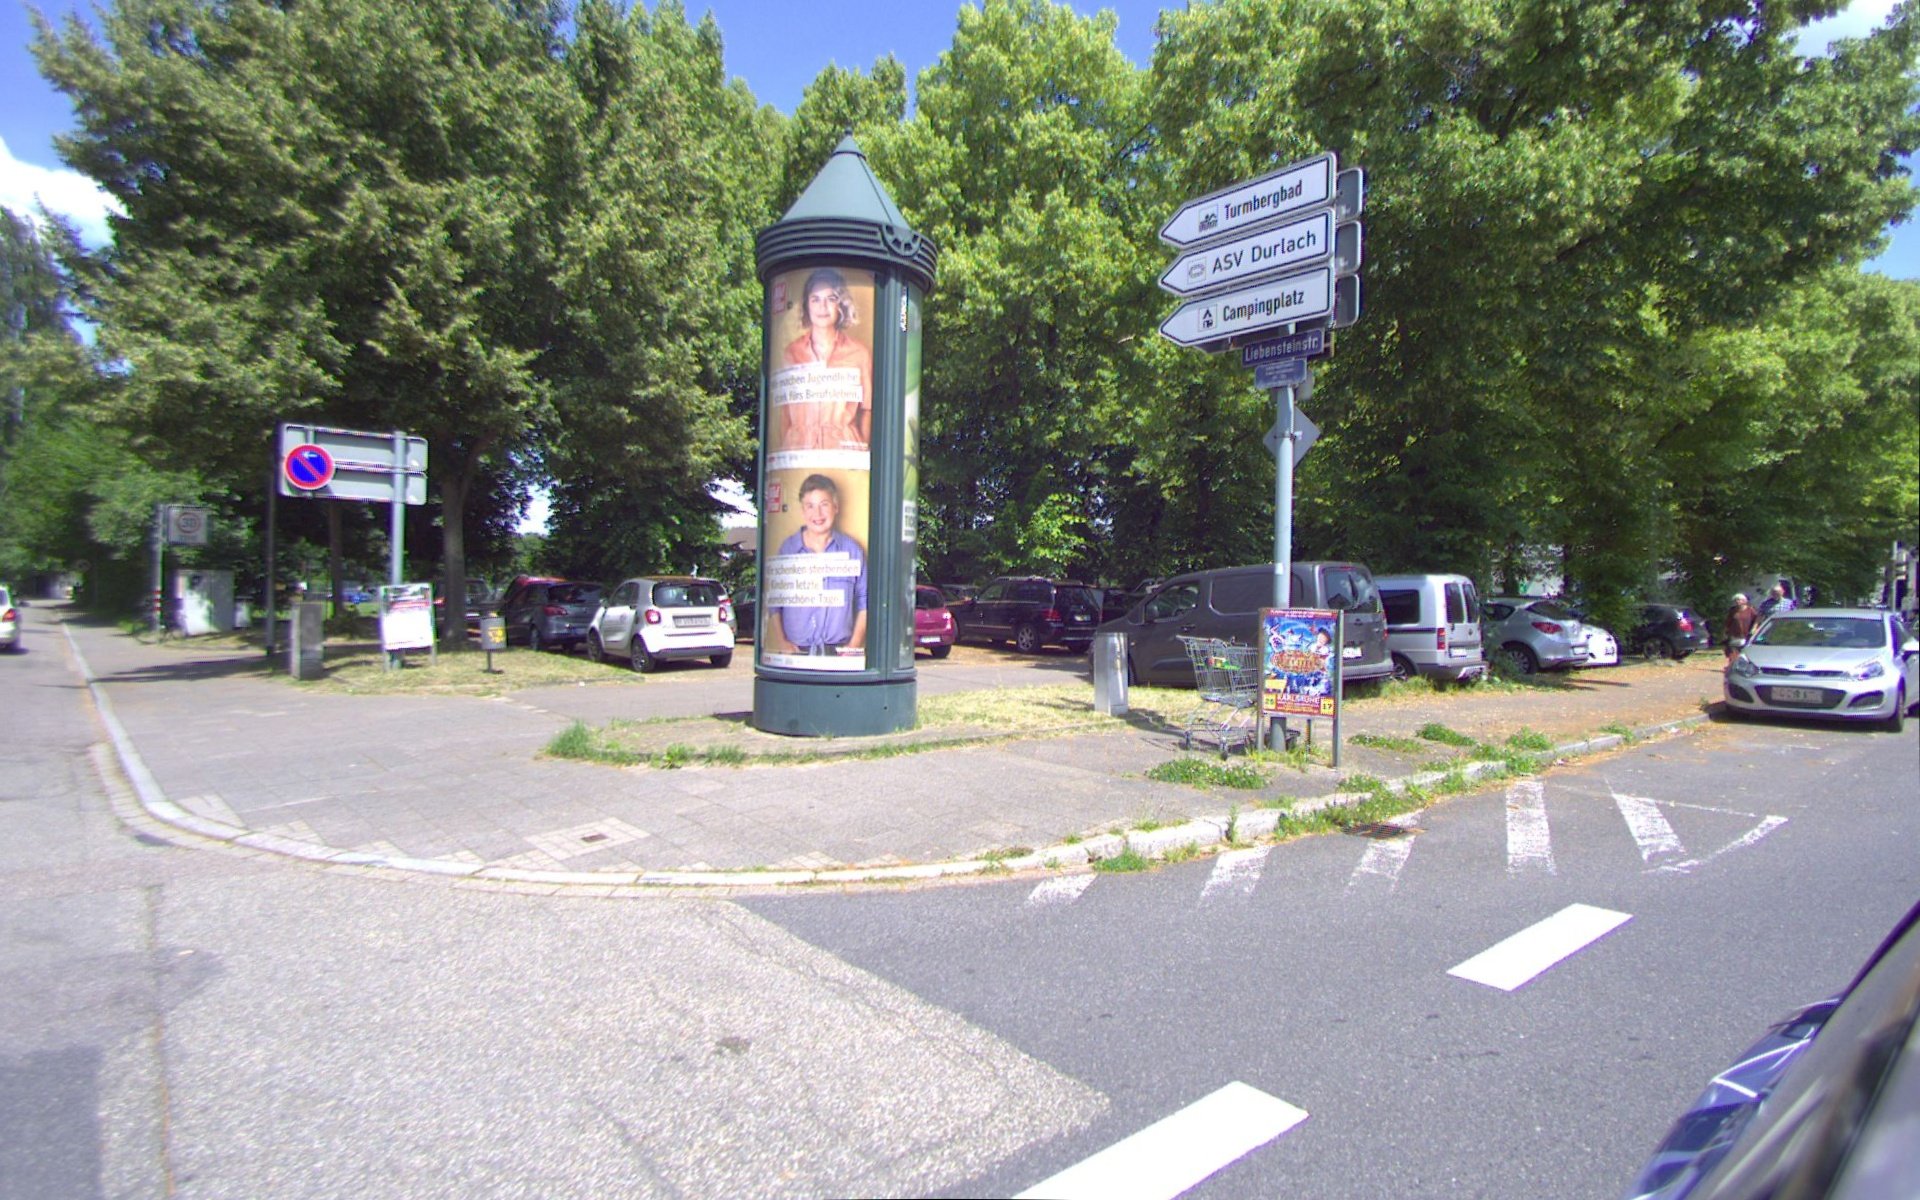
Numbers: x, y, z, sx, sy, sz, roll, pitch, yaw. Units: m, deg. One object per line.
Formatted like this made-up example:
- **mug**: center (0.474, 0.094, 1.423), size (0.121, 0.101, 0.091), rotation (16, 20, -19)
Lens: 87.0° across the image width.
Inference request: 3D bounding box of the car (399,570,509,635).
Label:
- **car**: center (-14.594, 0.034, 29.098), size (1.839, 1.714, 3.993), rotation (1, 0, -42)

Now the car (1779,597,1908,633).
- **car**: center (35.381, 0.569, 40.613), size (3.834, 1.375, 1.605), rotation (0, 0, 42)

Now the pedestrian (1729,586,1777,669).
- **pedestrian**: center (15.698, 0.529, 20.035), size (0.724, 1.613, 0.618), rotation (1, 0, -41)

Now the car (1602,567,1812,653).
- **car**: center (21.907, 0.305, 29.836), size (2.068, 2.305, 4.611), rotation (1, -1, -39)

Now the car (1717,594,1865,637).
- **car**: center (31.092, 0.530, 37.953), size (1.608, 1.512, 4.074), rotation (1, 0, -41)

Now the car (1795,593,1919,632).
- **car**: center (38.194, 0.508, 43.078), size (1.597, 1.555, 3.774), rotation (1, 0, -29)

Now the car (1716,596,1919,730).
- **car**: center (11.568, 0.713, 13.350), size (3.822, 1.504, 1.770), rotation (0, 0, -41)

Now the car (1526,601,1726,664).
- **car**: center (17.049, 0.797, 26.068), size (1.686, 1.492, 3.996), rotation (0, -1, -38)

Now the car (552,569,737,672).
- **car**: center (-5.704, 0.277, 18.032), size (1.652, 1.573, 3.994), rotation (0, 2, -41)

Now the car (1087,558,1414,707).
- **car**: center (3.935, 0.367, 14.191), size (1.981, 1.773, 3.994), rotation (0, 0, -40)

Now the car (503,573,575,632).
- **car**: center (-12.873, 0.037, 30.845), size (1.683, 1.688, 3.808), rotation (0, 1, -28)

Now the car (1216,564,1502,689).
- **car**: center (6.048, 0.313, 15.614), size (1.636, 1.688, 3.766), rotation (1, 1, -44)

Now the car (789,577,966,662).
- **car**: center (-1.817, 0.337, 21.308), size (1.652, 1.547, 3.994), rotation (0, 2, -41)

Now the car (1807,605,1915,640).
- **car**: center (43.634, 1.060, 49.033), size (1.822, 1.546, 3.757), rotation (1, 1, -43)

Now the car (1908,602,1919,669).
- **car**: center (22.582, 0.786, 22.538), size (3.928, 1.446, 1.667), rotation (1, 0, -40)

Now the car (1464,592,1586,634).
- **car**: center (24.542, 0.533, 44.071), size (1.787, 1.607, 4.261), rotation (1, 2, -41)

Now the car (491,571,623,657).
- **car**: center (-8.316, 0.239, 20.801), size (1.564, 1.573, 3.068), rotation (0, 2, -42)

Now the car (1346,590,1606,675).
- **car**: center (9.567, 0.542, 18.986), size (1.776, 1.416, 3.993), rotation (1, 0, -41)

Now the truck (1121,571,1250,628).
- **truck**: center (7.780, -0.052, 35.211), size (1.844, 1.837, 4.133), rotation (1, 1, -37)

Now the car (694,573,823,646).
- **car**: center (-4.912, 0.185, 24.435), size (1.564, 1.573, 3.386), rotation (0, 2, -42)

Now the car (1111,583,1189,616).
- **car**: center (9.779, -0.053, 52.278), size (1.705, 1.587, 3.810), rotation (1, 1, -36)

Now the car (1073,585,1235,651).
- **car**: center (5.000, 0.416, 26.502), size (1.652, 1.501, 3.994), rotation (0, 2, -41)

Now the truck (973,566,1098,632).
- **truck**: center (2.272, -0.081, 31.231), size (1.706, 1.905, 3.808), rotation (1, 1, -38)

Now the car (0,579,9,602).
- **car**: center (-70.746, -0.701, 73.925), size (1.576, 1.717, 3.994), rotation (1, 0, -40)

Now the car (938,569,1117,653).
- **car**: center (1.453, 0.186, 23.063), size (1.673, 1.699, 3.992), rotation (0, 2, -43)

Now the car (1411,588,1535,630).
- **car**: center (20.304, 0.326, 40.196), size (1.771, 1.491, 3.998), rotation (0, 2, -38)

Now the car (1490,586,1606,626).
- **car**: center (26.677, 0.234, 45.990), size (4.253, 1.607, 1.790), rotation (3, 2, 44)

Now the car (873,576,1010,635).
- **car**: center (-0.555, 0.112, 27.752), size (1.707, 1.478, 3.805), rotation (1, 1, -41)

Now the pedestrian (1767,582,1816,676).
- **pedestrian**: center (16.089, 0.546, 19.581), size (0.724, 1.787, 0.618), rotation (1, 0, -41)

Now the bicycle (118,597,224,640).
- **bicycle**: center (-19.669, 0.446, 25.282), size (1.881, 0.813, 0.707), rotation (-8, 3, -20)

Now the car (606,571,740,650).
- **car**: center (-6.479, 0.181, 22.678), size (1.564, 1.573, 3.386), rotation (0, 2, -42)

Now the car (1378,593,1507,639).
- **car**: center (18.163, 0.562, 38.235), size (1.771, 1.491, 3.998), rotation (0, 2, -38)

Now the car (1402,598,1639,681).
- **car**: center (11.586, 0.740, 21.151), size (1.638, 1.446, 3.997), rotation (1, 1, -39)

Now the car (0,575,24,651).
- **car**: center (-21.697, 0.247, 22.215), size (1.543, 1.574, 3.994), rotation (1, 0, -41)
